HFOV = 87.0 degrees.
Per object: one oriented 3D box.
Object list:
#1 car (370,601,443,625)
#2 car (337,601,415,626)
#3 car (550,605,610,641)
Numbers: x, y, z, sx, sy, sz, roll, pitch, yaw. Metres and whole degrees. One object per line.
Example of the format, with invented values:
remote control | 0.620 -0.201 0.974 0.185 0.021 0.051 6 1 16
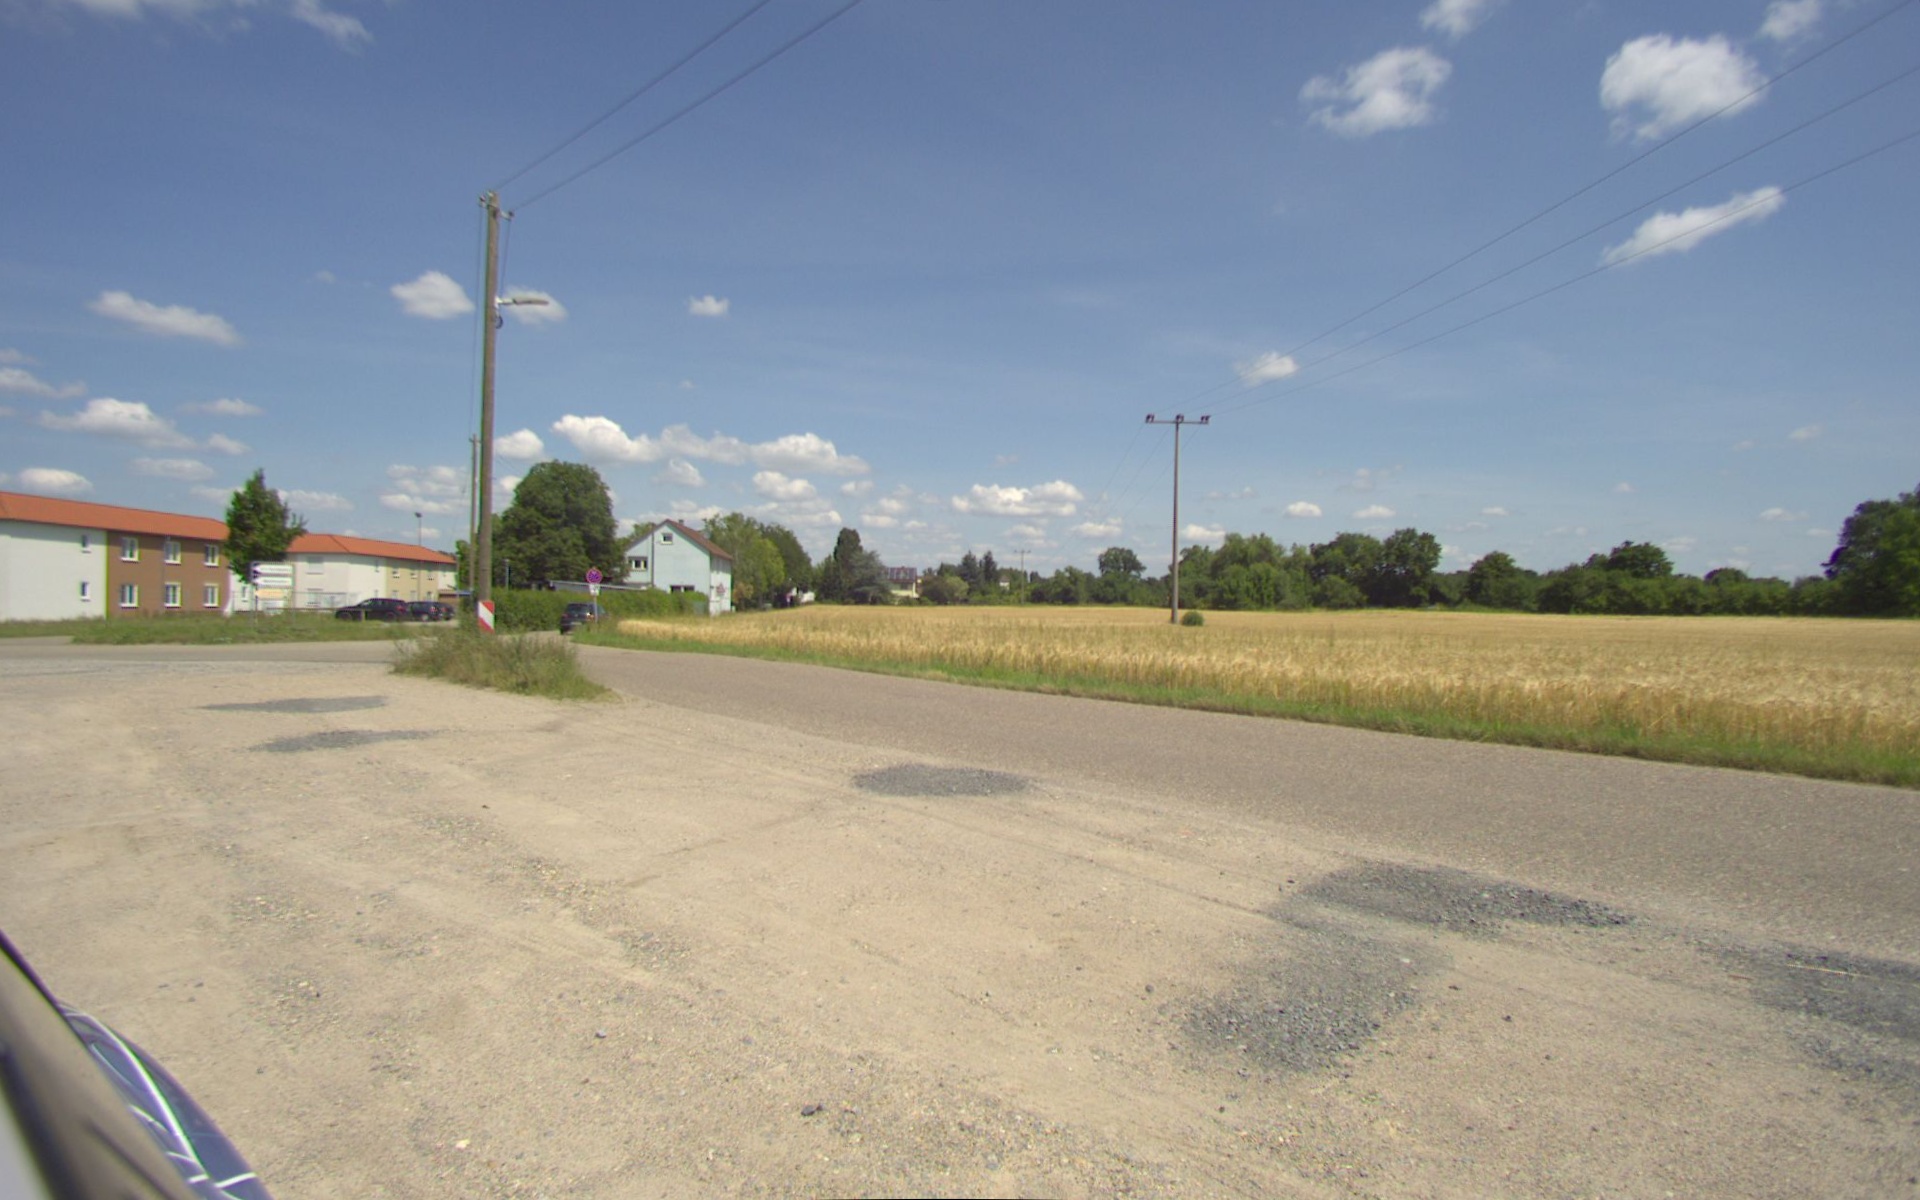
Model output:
car | -39.368 0.904 72.056 4.084 1.627 2.003 1 -1 -6
car | -39.236 0.917 68.109 4.084 1.627 2.003 1 -1 -6
car | -19.286 1.115 51.506 1.723 1.691 4.259 0 1 -4
